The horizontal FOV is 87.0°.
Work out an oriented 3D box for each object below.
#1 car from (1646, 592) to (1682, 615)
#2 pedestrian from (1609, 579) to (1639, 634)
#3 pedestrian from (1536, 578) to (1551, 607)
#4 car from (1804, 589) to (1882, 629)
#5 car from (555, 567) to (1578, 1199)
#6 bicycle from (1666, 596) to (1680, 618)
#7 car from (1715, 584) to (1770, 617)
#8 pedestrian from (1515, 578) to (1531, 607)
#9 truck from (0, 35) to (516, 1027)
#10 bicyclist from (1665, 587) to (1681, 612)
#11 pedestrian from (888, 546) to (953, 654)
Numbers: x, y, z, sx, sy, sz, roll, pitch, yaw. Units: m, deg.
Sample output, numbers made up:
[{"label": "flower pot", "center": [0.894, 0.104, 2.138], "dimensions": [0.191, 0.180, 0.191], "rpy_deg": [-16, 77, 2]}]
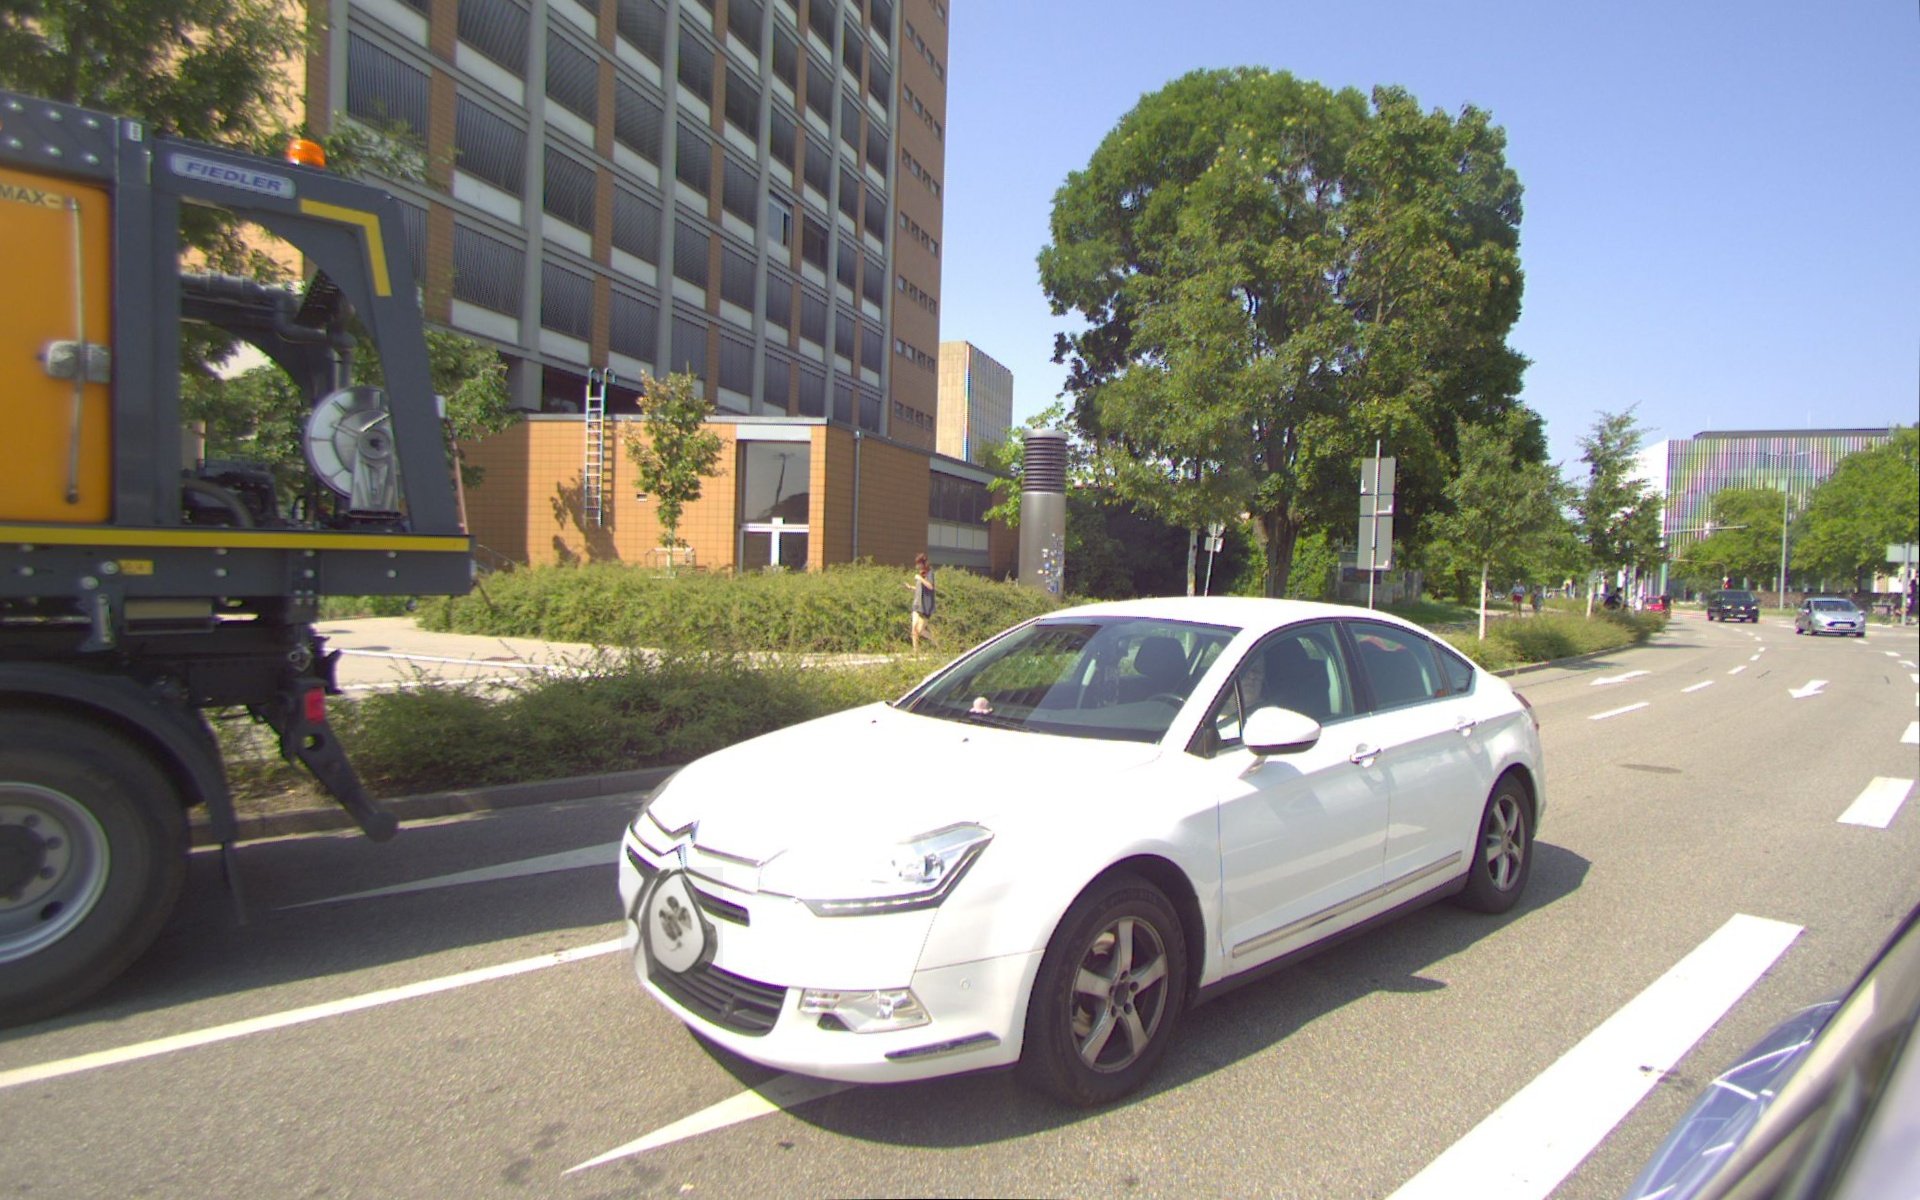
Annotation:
[{"label": "car", "center": [46.871, 0.192, 67.419], "dimensions": [1.637, 1.449, 3.775], "rpy_deg": [1, 1, 30]}, {"label": "pedestrian", "center": [23.782, 0.219, 36.263], "dimensions": [0.818, 1.926, 0.622], "rpy_deg": [2, 1, 37]}, {"label": "pedestrian", "center": [27.076, -0.356, 46.966], "dimensions": [0.572, 1.315, 0.432], "rpy_deg": [0, 0, 31]}, {"label": "car", "center": [36.473, 0.351, 41.904], "dimensions": [1.646, 1.550, 4.483], "rpy_deg": [0, 0, 31]}, {"label": "car", "center": [0.864, 0.636, 4.368], "dimensions": [4.529, 1.446, 1.772], "rpy_deg": [0, 2, -41]}, {"label": "bicycle", "center": [41.118, 0.380, 58.345], "dimensions": [0.591, 1.183, 2.206], "rpy_deg": [2, 2, 36]}, {"label": "car", "center": [47.360, 0.007, 61.355], "dimensions": [1.874, 1.943, 4.489], "rpy_deg": [1, 1, 28]}, {"label": "pedestrian", "center": [26.366, -0.356, 47.354], "dimensions": [0.630, 1.315, 0.481], "rpy_deg": [0, 0, 32]}, {"label": "truck", "center": [-5.259, -0.247, 3.091], "dimensions": [6.736, 3.174, 2.498], "rpy_deg": [0, 1, -39]}, {"label": "bicyclist", "center": [41.077, -0.037, 58.281], "dimensions": [0.676, 1.417, 1.035], "rpy_deg": [2, 1, 37]}, {"label": "pedestrian", "center": [-0.653, -0.005, 16.628], "dimensions": [0.792, 1.720, 0.671], "rpy_deg": [1, 1, -41]}]
